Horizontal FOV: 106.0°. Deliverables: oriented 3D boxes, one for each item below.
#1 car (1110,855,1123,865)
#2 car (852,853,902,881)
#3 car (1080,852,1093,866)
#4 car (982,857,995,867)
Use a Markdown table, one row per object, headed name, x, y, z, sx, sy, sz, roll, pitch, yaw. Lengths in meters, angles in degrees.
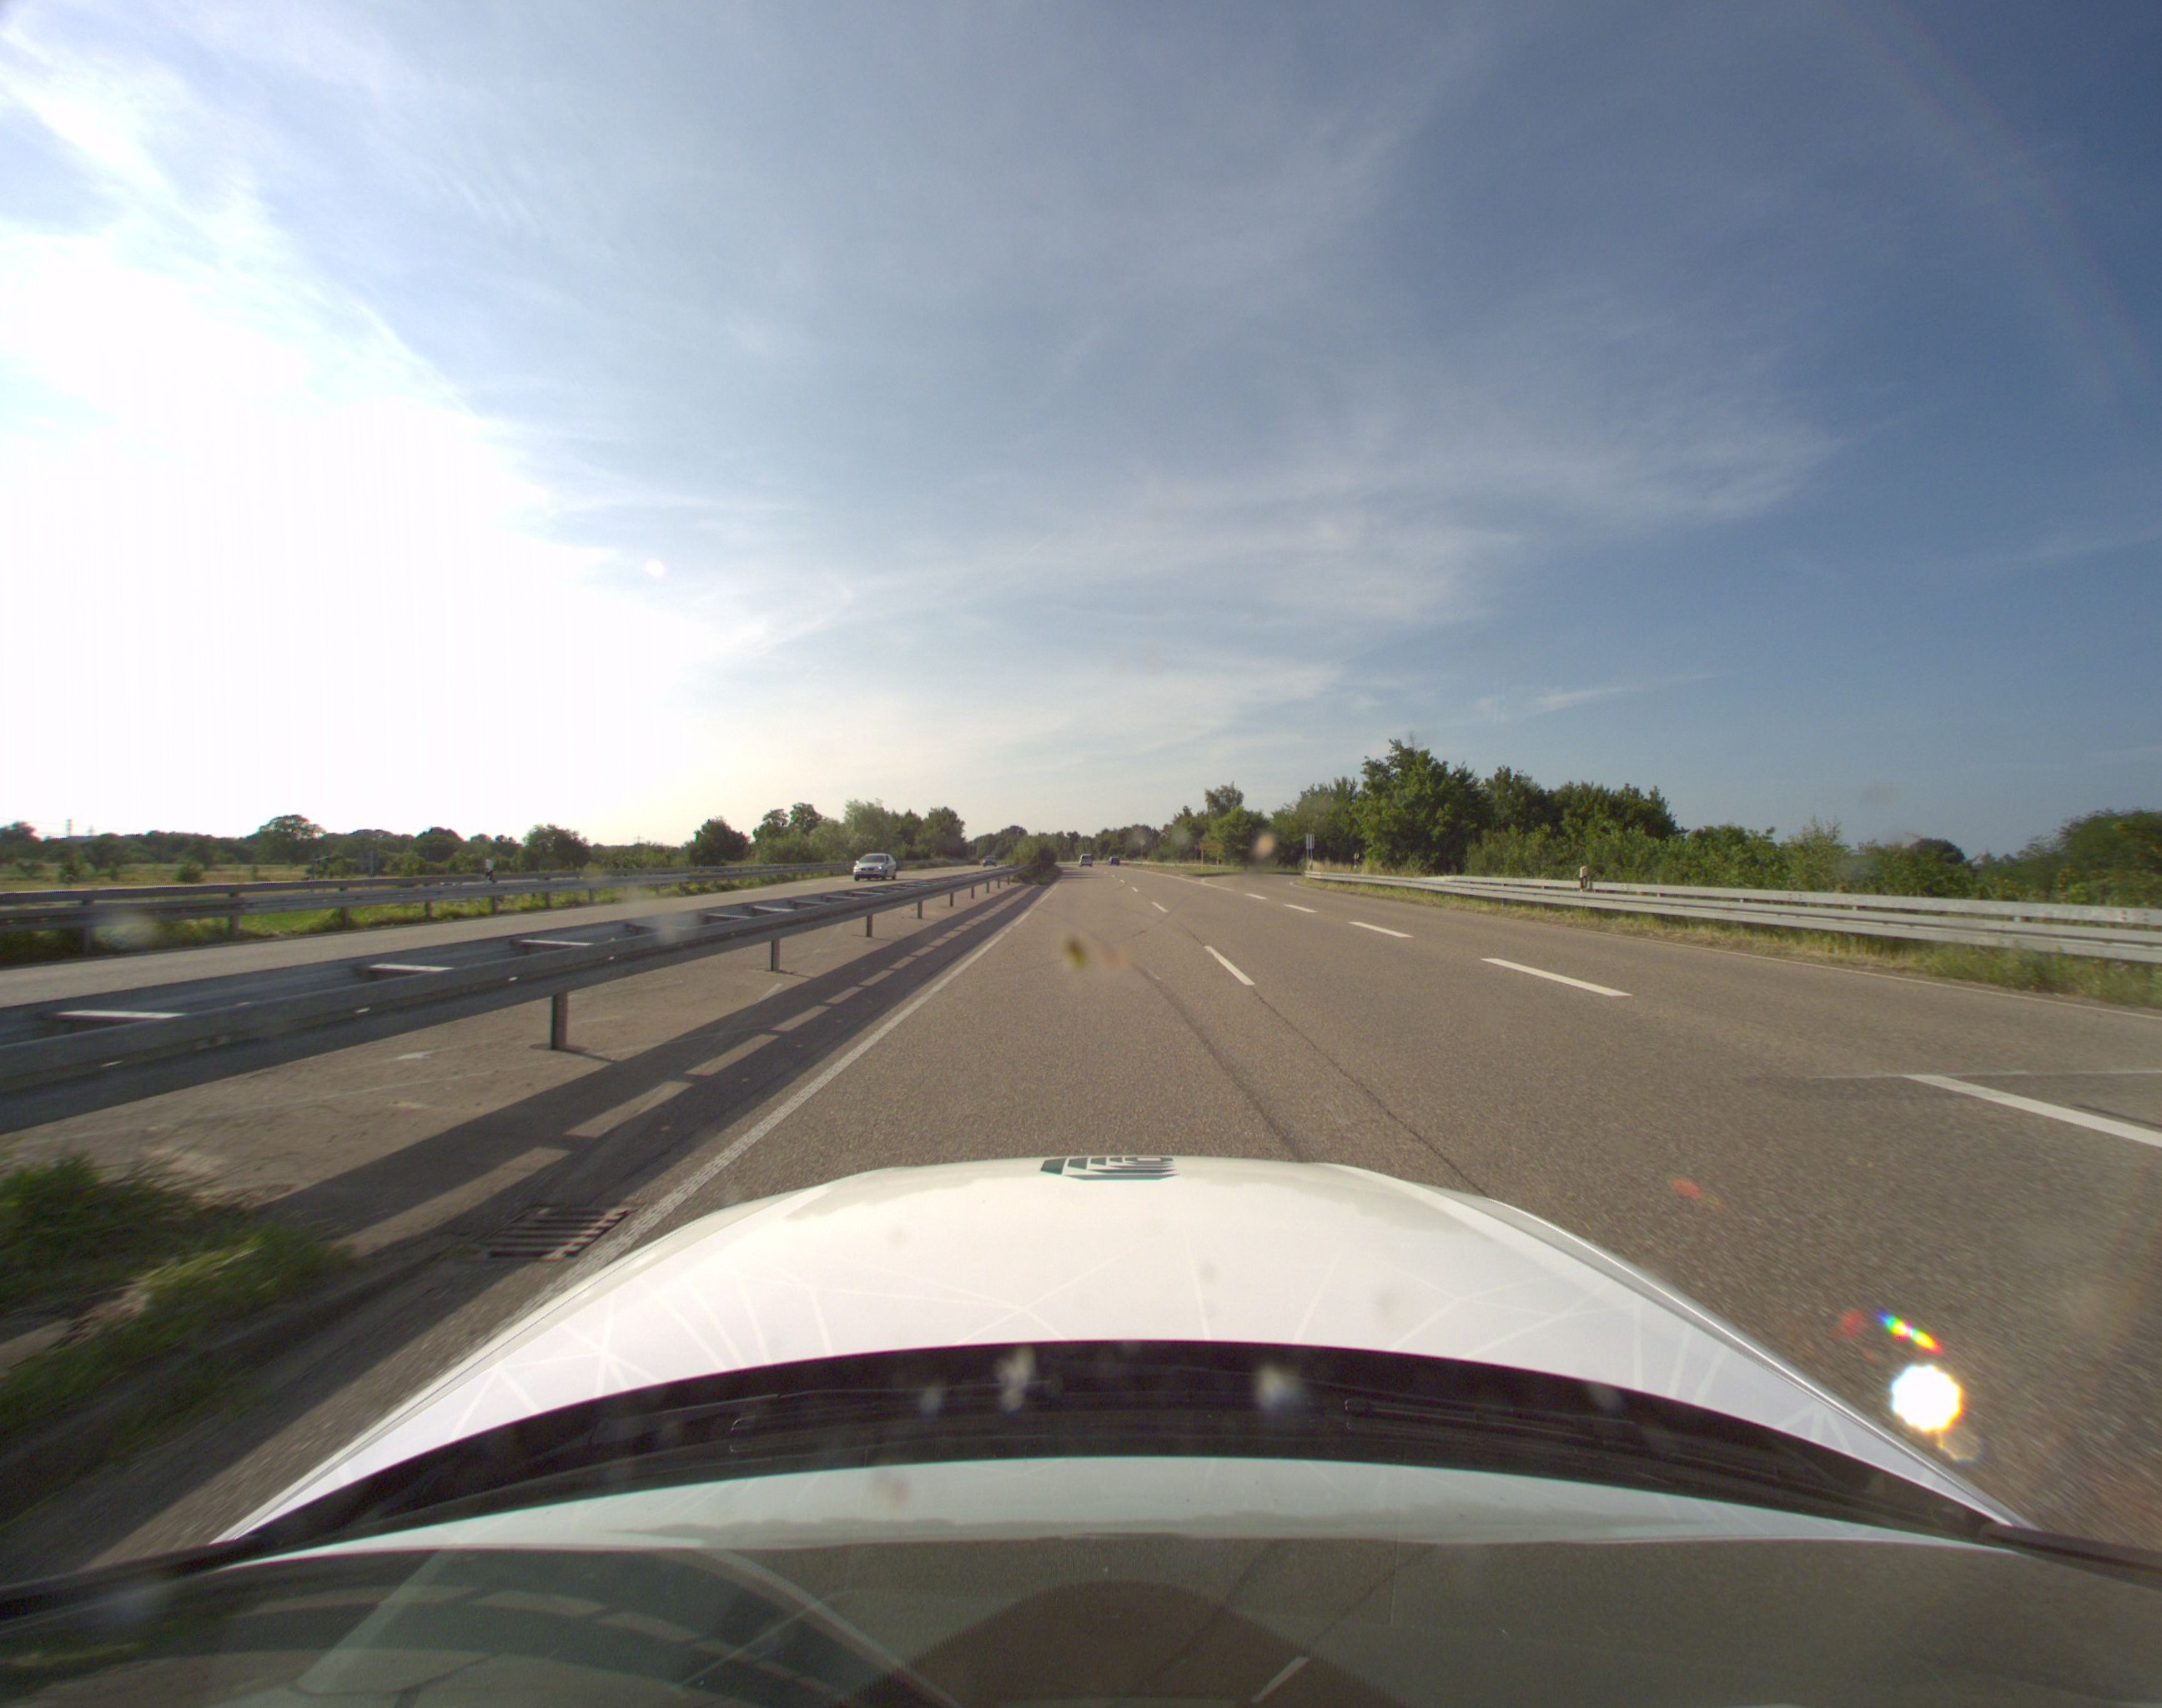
| name | x | y | z | sx | sy | sz | roll | pitch | yaw |
| --- | --- | --- | --- | --- | --- | --- | --- | --- | --- |
| car | 5.910 | 1.027 | 136.325 | 1.775 | 1.452 | 3.995 | -1 | -2 | -3 |
| car | -11.028 | 0.674 | 44.306 | 1.634 | 1.420 | 4.001 | 0 | 1 | 1 |
| car | 0.791 | 0.719 | 118.045 | 1.760 | 1.882 | 3.999 | -1 | -1 | 0 |
| car | -12.488 | 1.085 | 109.698 | 1.485 | 1.298 | 3.265 | 0 | -1 | -2 |
